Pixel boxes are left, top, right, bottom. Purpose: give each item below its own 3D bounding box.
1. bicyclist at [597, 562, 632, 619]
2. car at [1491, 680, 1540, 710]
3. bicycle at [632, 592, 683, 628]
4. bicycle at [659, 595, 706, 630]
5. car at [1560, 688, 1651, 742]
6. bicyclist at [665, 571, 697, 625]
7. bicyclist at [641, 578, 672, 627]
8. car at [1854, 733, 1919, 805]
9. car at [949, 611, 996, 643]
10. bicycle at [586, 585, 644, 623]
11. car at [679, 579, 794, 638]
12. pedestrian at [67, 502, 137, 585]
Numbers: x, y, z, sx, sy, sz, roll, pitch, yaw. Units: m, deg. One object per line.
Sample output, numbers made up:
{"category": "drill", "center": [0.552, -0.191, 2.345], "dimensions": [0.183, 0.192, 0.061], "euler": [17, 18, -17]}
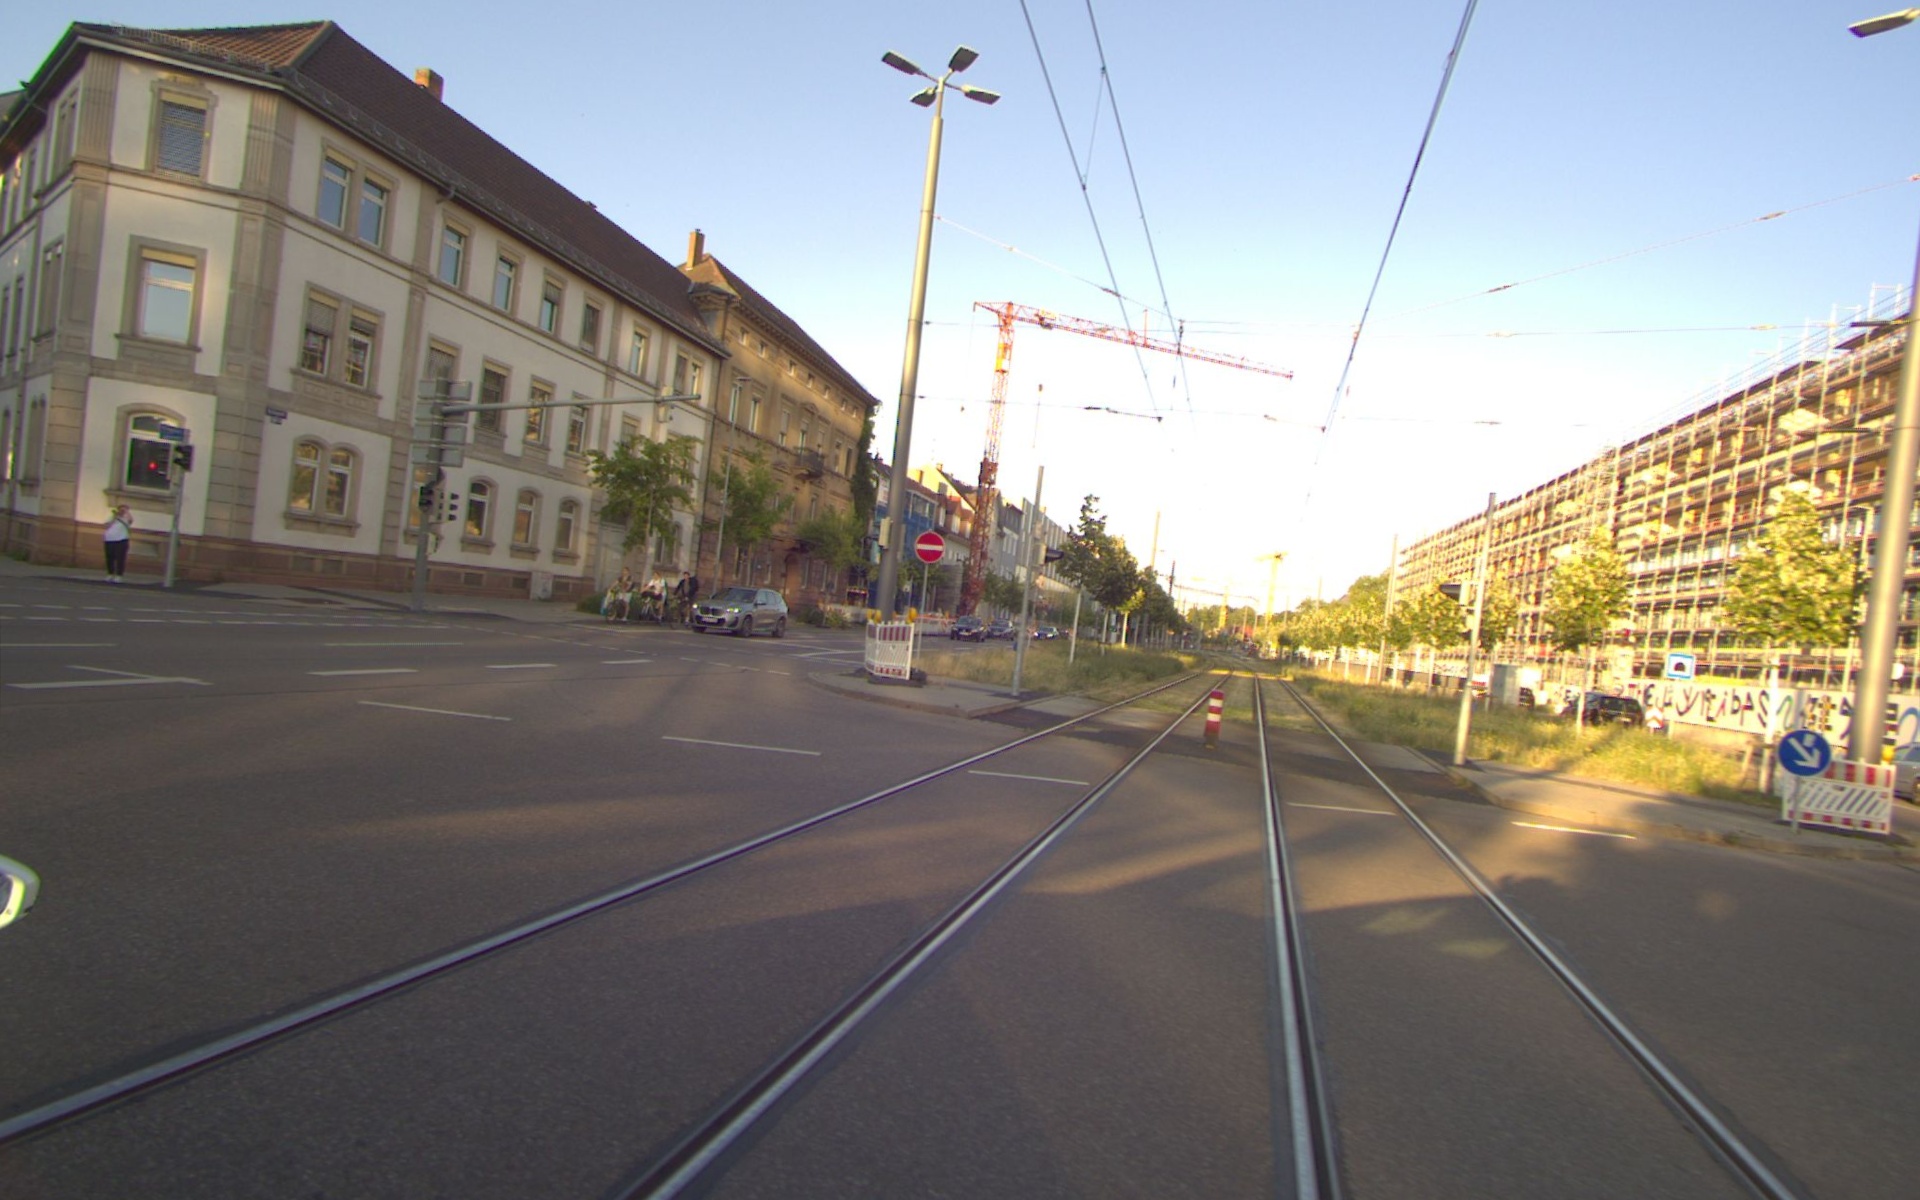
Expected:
{"category": "bicyclist", "center": [-10.856, -0.287, 31.629], "dimensions": [0.500, 1.723, 0.767], "euler": [9, 3, 17]}
{"category": "car", "center": [37.311, 6.347, 67.671], "dimensions": [1.962, 1.593, 4.001], "euler": [7, 0, 17]}
{"category": "bicycle", "center": [-10.198, 0.348, 33.945], "dimensions": [0.508, 1.064, 2.044], "euler": [8, 0, 16]}
{"category": "bicycle", "center": [-9.155, 0.411, 33.249], "dimensions": [0.707, 1.065, 2.044], "euler": [4, 0, 7]}
{"category": "car", "center": [24.966, 4.407, 39.052], "dimensions": [1.753, 1.536, 4.070], "euler": [9, 0, 18]}
{"category": "bicyclist", "center": [-9.147, -0.071, 33.025], "dimensions": [0.692, 1.723, 0.768], "euler": [4, 1, 7]}
{"category": "bicyclist", "center": [-10.198, 0.085, 33.788], "dimensions": [0.503, 1.568, 0.692], "euler": [8, 1, 16]}
{"category": "car", "center": [23.594, 4.209, 24.230], "dimensions": [1.638, 1.473, 4.068], "euler": [9, 0, 22]}
{"category": "car", "center": [0.783, 1.624, 59.551], "dimensions": [1.671, 1.617, 4.262], "euler": [6, -1, 14]}
{"category": "bicycle", "center": [-10.878, 0.146, 31.812], "dimensions": [0.519, 1.065, 2.047], "euler": [10, 2, 16]}
{"category": "car", "center": [-7.215, 0.338, 32.945], "dimensions": [1.800, 1.617, 4.262], "euler": [6, -1, 14]}
{"category": "pedestrian", "center": [-18.775, -1.221, 22.031], "dimensions": [0.804, 1.677, 0.636], "euler": [7, 1, -6]}
